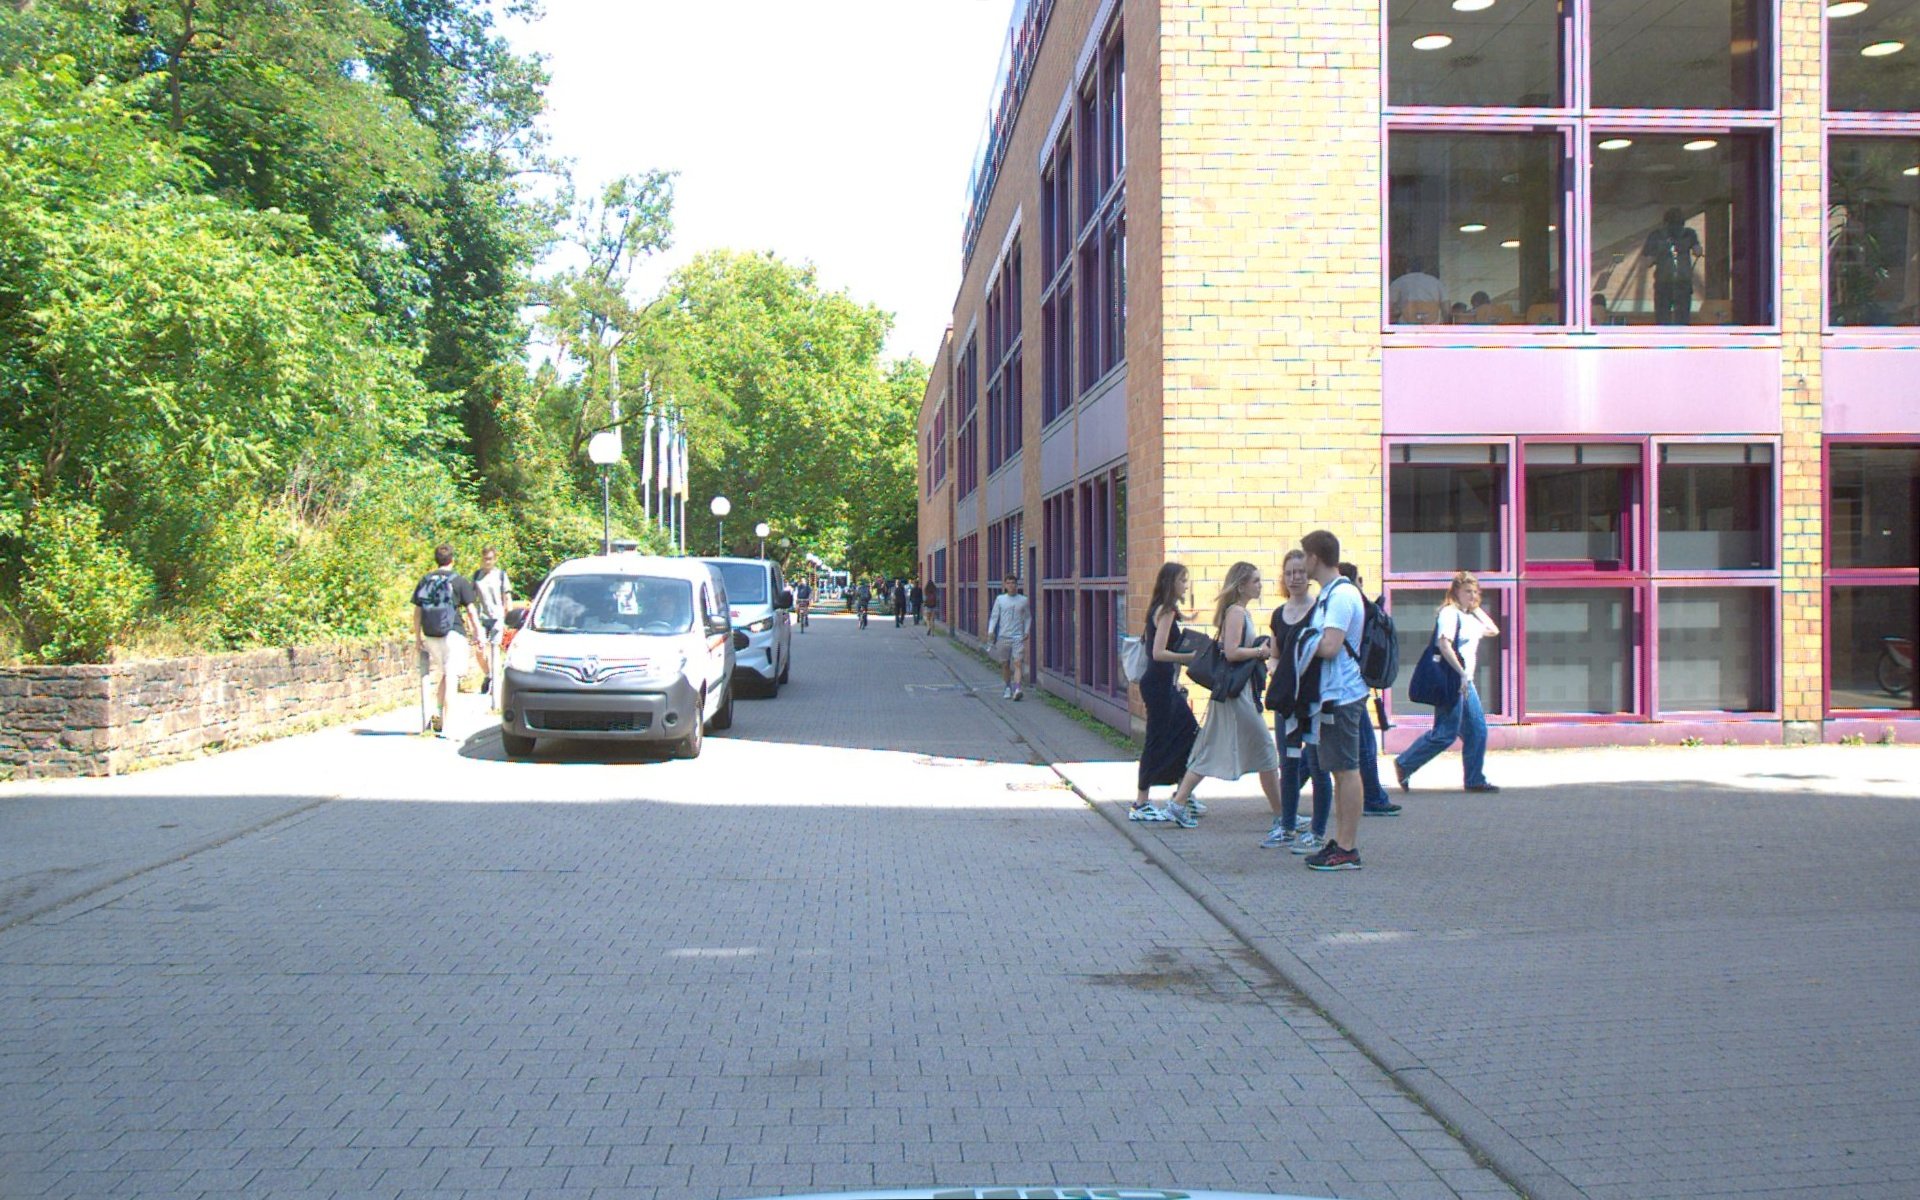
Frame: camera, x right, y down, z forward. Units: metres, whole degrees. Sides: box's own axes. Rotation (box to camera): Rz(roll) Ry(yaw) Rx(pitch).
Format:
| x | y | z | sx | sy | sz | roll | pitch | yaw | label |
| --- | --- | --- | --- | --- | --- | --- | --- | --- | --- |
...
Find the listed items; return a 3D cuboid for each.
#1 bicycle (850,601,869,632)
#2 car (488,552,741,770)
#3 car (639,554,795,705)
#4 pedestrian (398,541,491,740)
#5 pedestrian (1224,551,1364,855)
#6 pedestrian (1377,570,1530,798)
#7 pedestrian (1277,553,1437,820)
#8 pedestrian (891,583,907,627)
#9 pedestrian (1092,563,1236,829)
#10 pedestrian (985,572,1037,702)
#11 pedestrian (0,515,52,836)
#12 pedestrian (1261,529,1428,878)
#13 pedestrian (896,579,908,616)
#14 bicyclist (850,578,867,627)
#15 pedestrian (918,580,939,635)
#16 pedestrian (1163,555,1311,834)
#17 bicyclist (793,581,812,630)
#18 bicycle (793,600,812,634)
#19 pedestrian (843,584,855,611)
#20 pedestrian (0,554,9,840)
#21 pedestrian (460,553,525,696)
| x | y | z | sx | sy | sz | roll | pitch | yaw | label |
| --- | --- | --- | --- | --- | --- | --- | --- | --- | --- |
| -3.671 | 0.588 | 60.128 | 0.576 | 1.102 | 1.905 | 0 | 0 | -7 | bicycle |
| -3.185 | 0.490 | 16.087 | 1.755 | 1.792 | 4.478 | -1 | 0 | -4 | car |
| -3.499 | 0.366 | 24.685 | 1.846 | 2.008 | 5.211 | 0 | 0 | -4 | car |
| -4.961 | 0.385 | 15.959 | 0.669 | 1.876 | 0.782 | 0 | -1 | -4 | pedestrian |
| 1.934 | 0.587 | 9.647 | 0.682 | 1.702 | 0.588 | -2 | -1 | 4 | pedestrian |
| 3.554 | 0.584 | 11.969 | 0.867 | 1.569 | 0.743 | -2 | 1 | 4 | pedestrian |
| 2.611 | 0.562 | 10.946 | 0.909 | 1.702 | 0.588 | -1 | -1 | 4 | pedestrian |
| -2.430 | 0.190 | 65.532 | 0.574 | 1.702 | 0.817 | -2 | -1 | -2 | pedestrian |
| 1.350 | 0.619 | 11.056 | 0.867 | 1.701 | 0.643 | -2 | 1 | 4 | pedestrian |
| 0.706 | 0.514 | 23.138 | 0.669 | 1.778 | 0.782 | 0 | -1 | -4 | pedestrian |
| -6.040 | 0.442 | 9.924 | 0.810 | 1.876 | 0.684 | 0 | -1 | -6 | pedestrian |
| 2.084 | 0.552 | 9.045 | 0.750 | 1.826 | 0.588 | -2 | -1 | 4 | pedestrian |
| -3.131 | -0.135 | 89.272 | 0.640 | 1.956 | 0.817 | -2 | -1 | -2 | pedestrian |
| -3.676 | 0.090 | 60.142 | 0.576 | 1.746 | 0.664 | 0 | 0 | -7 | bicyclist |
| -0.992 | 0.242 | 51.970 | 0.574 | 1.702 | 0.698 | -2 | -1 | -2 | pedestrian |
| 1.731 | 0.580 | 10.412 | 0.867 | 1.702 | 0.559 | 0 | -1 | 4 | pedestrian |
| -5.178 | 0.179 | 54.367 | 0.576 | 1.600 | 0.828 | 0 | 0 | -7 | bicyclist |
| -5.191 | 0.556 | 54.435 | 0.576 | 1.102 | 1.811 | 0 | 0 | -7 | bicycle |
| -6.998 | -0.173 | 104.583 | 0.710 | 1.702 | 0.748 | -2 | -1 | -2 | pedestrian |
| -5.901 | 0.557 | 9.265 | 0.765 | 1.649 | 0.684 | 0 | -1 | -6 | pedestrian |
| -6.258 | 0.329 | 22.158 | 0.669 | 1.876 | 0.782 | 0 | -1 | -4 | pedestrian |
